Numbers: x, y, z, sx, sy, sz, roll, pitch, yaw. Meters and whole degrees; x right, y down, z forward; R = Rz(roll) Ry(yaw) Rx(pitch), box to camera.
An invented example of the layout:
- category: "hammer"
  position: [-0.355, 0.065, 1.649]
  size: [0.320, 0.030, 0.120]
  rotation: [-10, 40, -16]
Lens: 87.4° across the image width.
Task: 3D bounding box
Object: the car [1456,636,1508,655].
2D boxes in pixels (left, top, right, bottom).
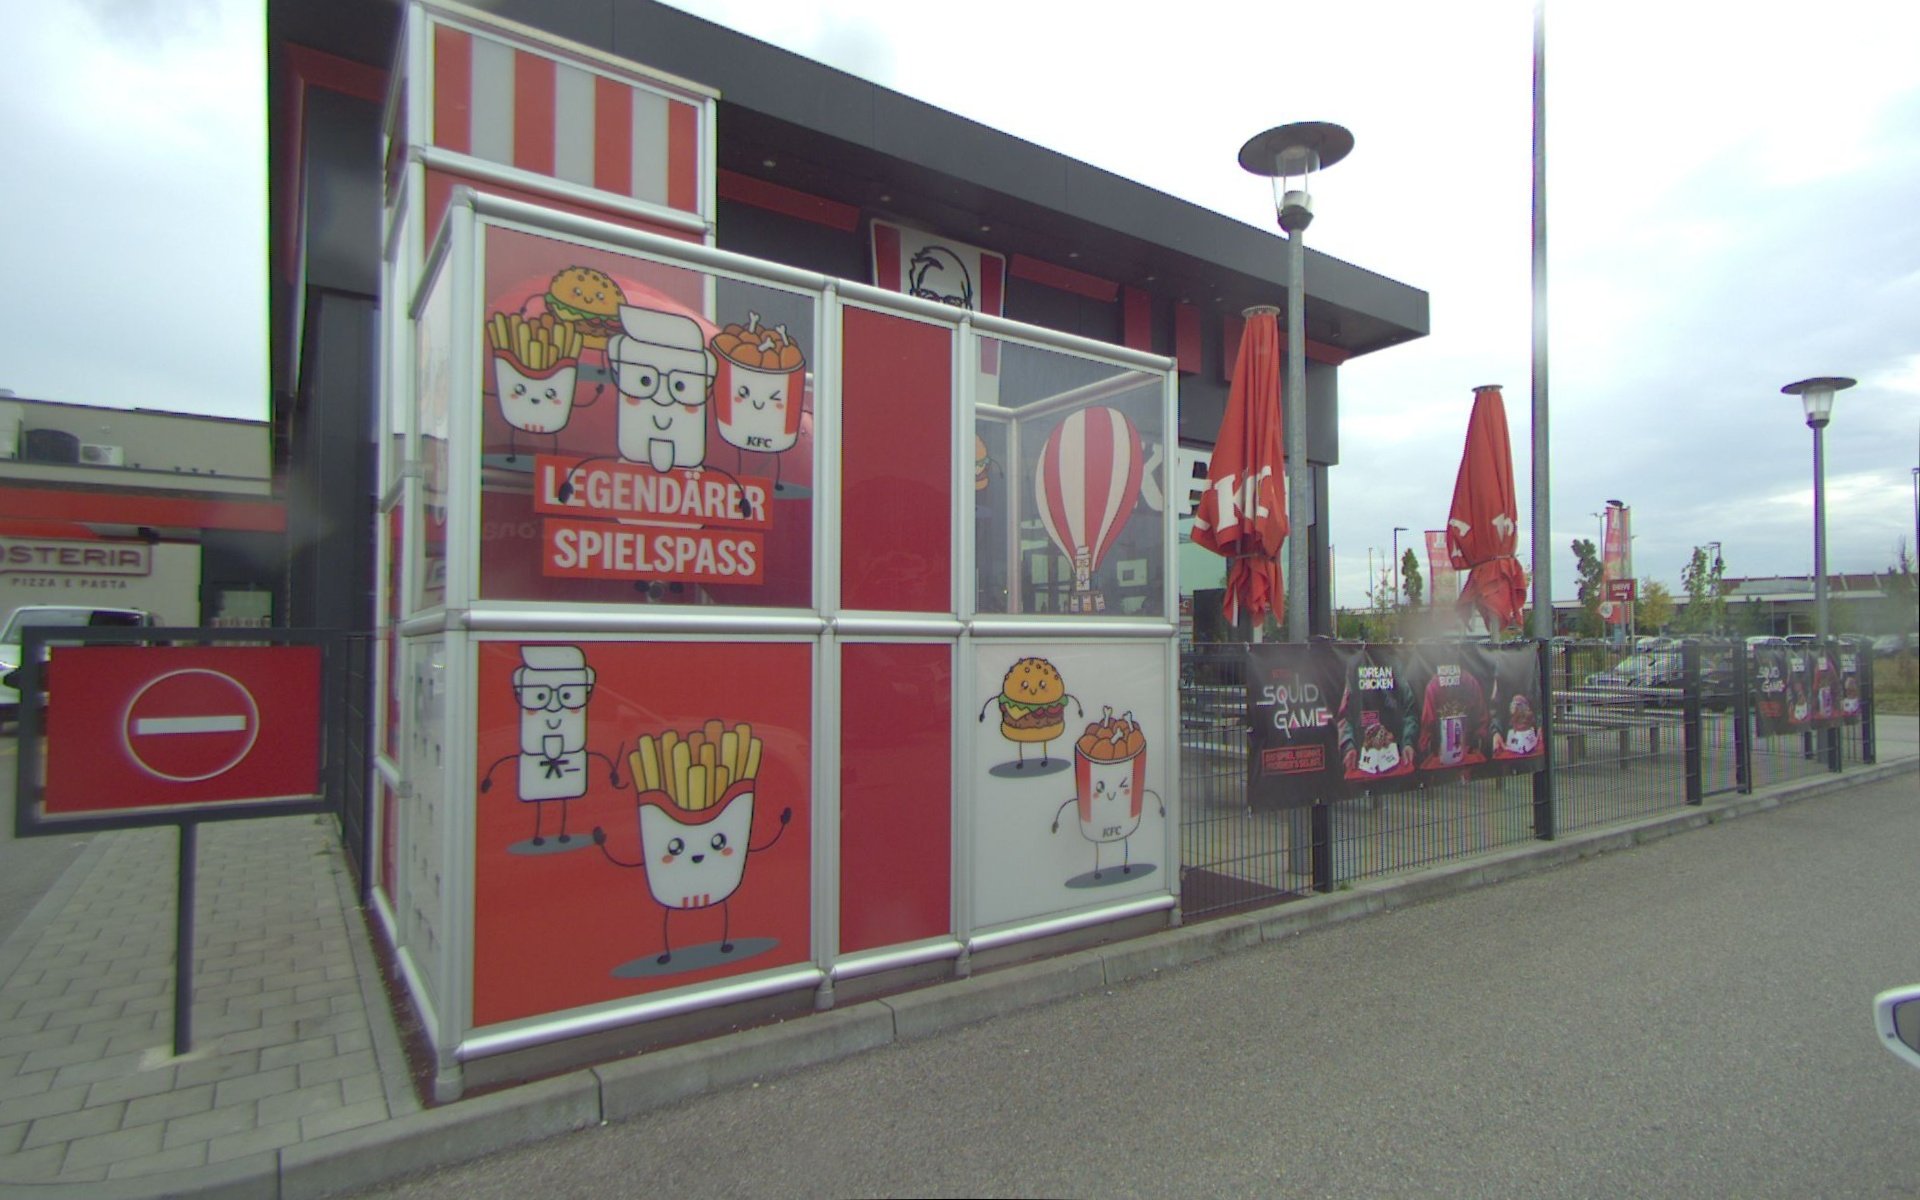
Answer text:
- category: "car"
  position: [46.747, 4.055, 89.912]
  size: [3.997, 1.560, 1.990]
  rotation: [-1, -2, -23]

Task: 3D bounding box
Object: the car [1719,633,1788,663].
- category: "car"
  position: [52.251, 3.154, 66.125]
  size: [4.266, 1.795, 1.986]
  rotation: [-1, -2, -28]

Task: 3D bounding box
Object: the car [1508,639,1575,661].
- category: "car"
  position: [44.556, 3.794, 77.025]
  size: [4.085, 1.560, 1.997]
  rotation: [-1, -2, -10]

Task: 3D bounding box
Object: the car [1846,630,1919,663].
- category: "car"
  position: [54.570, 2.715, 59.053]
  size: [4.255, 1.795, 1.923]
  rotation: [-1, -2, -20]

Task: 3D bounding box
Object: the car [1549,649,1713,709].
- category: "car"
  position: [18.180, 2.132, 27.155]
  size: [4.688, 1.475, 1.896]
  rotation: [3, -3, -31]

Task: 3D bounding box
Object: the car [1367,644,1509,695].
- category: "car"
  position: [16.154, 2.348, 33.921]
  size: [4.483, 1.561, 1.915]
  rotation: [3, -3, -24]

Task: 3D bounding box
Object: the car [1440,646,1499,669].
- category: "car"
  position: [32.569, 3.680, 64.343]
  size: [1.409, 1.388, 3.449]
  rotation: [-1, -2, -15]

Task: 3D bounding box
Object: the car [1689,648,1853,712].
- category: "car"
  position: [19.925, 1.960, 24.660]
  size: [4.024, 1.430, 1.873]
  rotation: [3, -3, -31]

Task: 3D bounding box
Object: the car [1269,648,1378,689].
- category: "car"
  position: [13.856, 2.613, 38.289]
  size: [3.753, 1.430, 1.730]
  rotation: [3, -3, -22]

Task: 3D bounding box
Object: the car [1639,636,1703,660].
- category: "car"
  position: [50.603, 3.393, 71.521]
  size: [3.993, 1.560, 1.764]
  rotation: [-1, -2, -20]

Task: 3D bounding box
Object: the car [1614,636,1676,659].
- category: "car"
  position: [50.356, 3.477, 73.879]
  size: [3.993, 1.560, 1.764]
  rotation: [-1, -2, -20]

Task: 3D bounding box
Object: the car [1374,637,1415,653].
- category: "car"
  position: [52.499, 5.410, 121.464]
  size: [1.980, 1.862, 4.147]
  rotation: [0, -2, -34]

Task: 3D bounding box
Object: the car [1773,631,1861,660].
- category: "car"
  position: [57.039, 3.039, 66.928]
  size: [1.967, 1.795, 3.987]
  rotation: [-1, -2, -16]

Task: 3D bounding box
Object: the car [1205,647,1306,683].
- category: "car"
  position: [12.847, 2.804, 43.672]
  size: [3.878, 1.430, 1.832]
  rotation: [3, -3, -19]

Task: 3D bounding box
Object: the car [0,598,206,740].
- category: "car"
  position: [-14.003, 1.075, 16.445]
  size: [2.257, 1.956, 5.077]
  rotation: [1, -3, -33]
